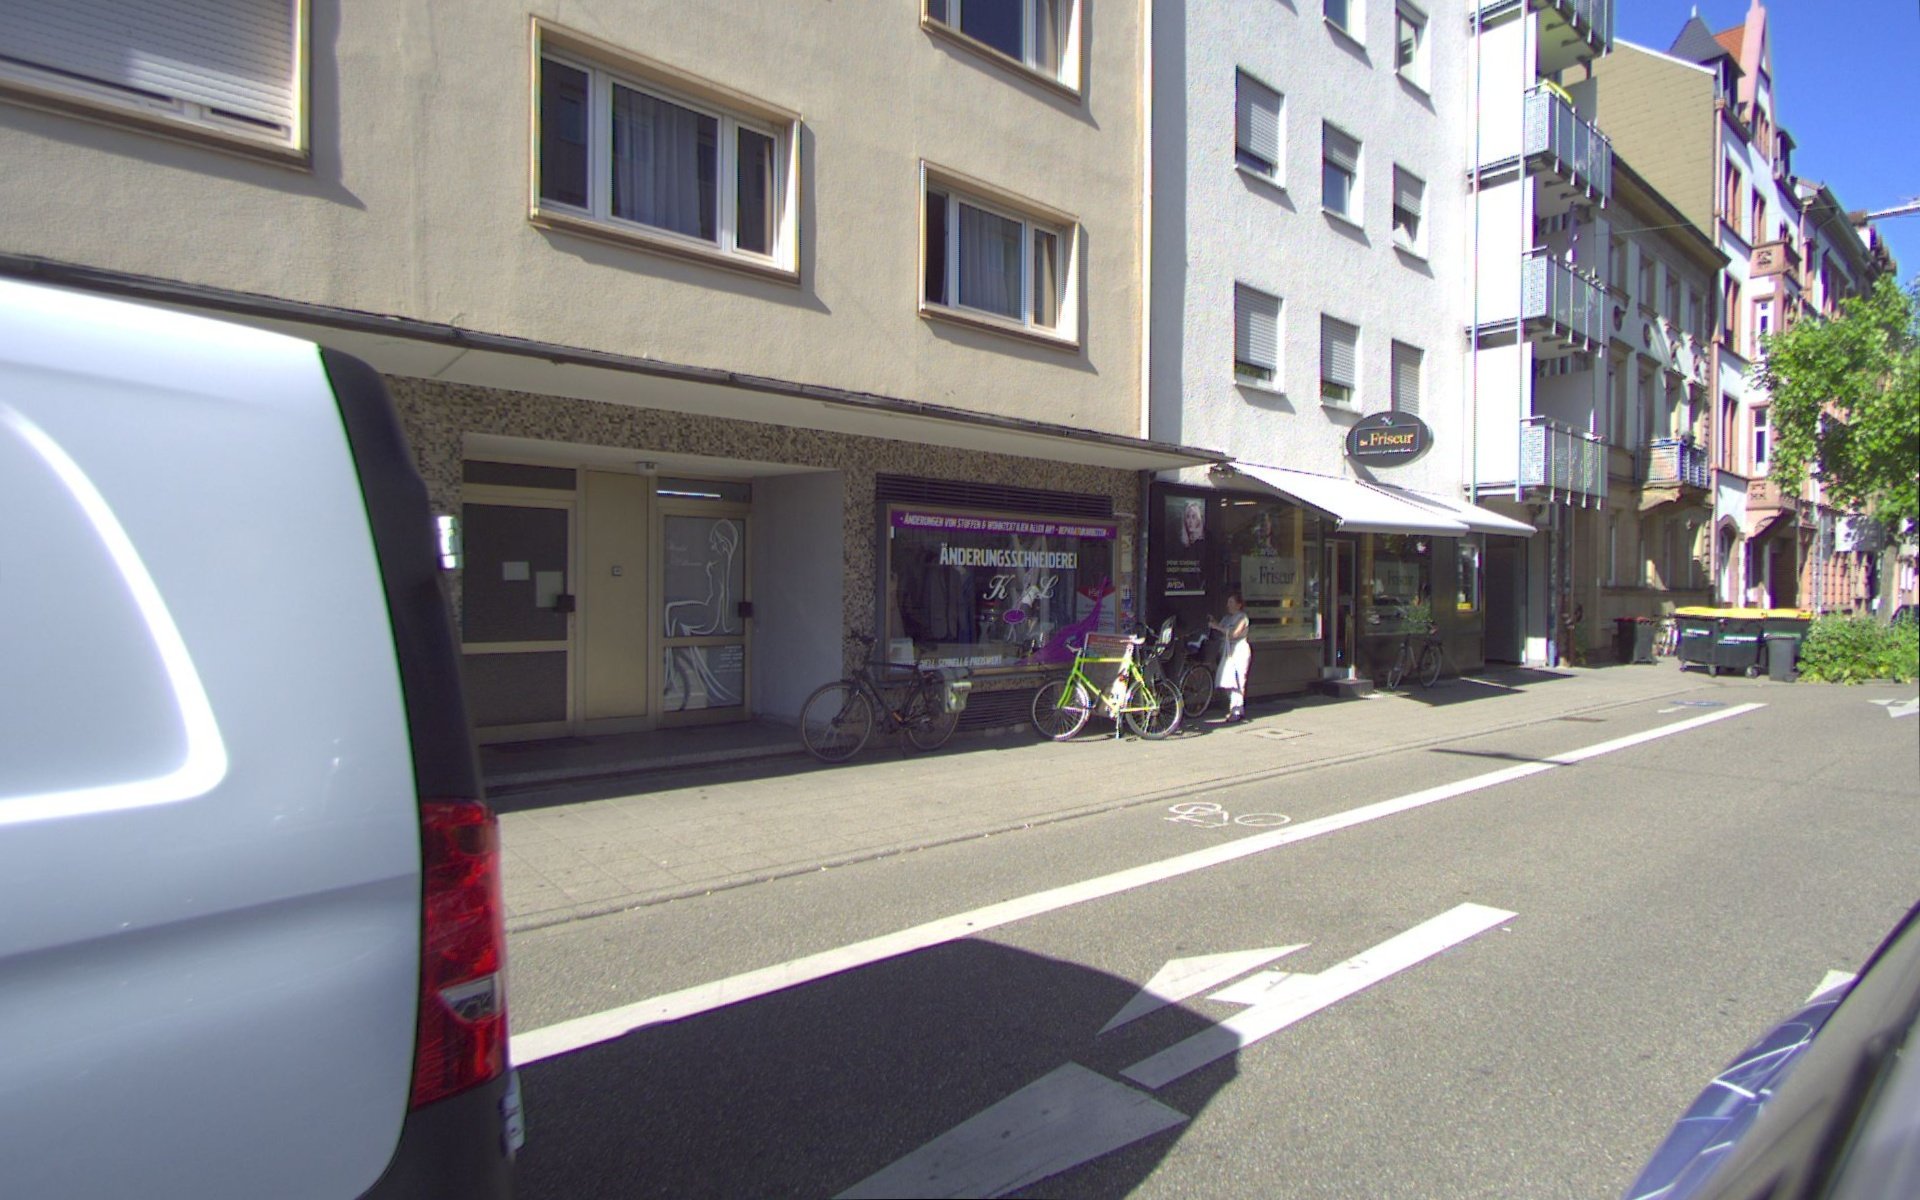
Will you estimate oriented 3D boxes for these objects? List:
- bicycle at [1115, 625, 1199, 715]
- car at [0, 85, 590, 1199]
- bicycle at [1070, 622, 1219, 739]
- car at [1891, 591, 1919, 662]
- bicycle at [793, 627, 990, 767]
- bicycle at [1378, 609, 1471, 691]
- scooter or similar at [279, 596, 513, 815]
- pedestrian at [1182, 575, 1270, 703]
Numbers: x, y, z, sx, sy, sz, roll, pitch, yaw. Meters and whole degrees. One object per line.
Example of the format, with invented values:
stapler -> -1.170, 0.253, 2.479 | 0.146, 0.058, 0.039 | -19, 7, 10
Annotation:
bicycle -> 2.360, 0.812, 12.083 | 1.155, 0.995, 0.375 | 0, 0, -43
car -> -2.863, 0.471, 0.390 | 4.750, 1.833, 1.971 | -1, 1, -42
bicycle -> 1.966, 0.819, 10.721 | 1.475, 1.120, 0.719 | 1, 0, 18
car -> 23.320, 0.599, 23.881 | 3.485, 1.616, 1.626 | 0, 1, -41
bicycle -> -0.574, 0.816, 8.980 | 1.766, 1.098, 0.408 | 0, 3, -36
bicycle -> 7.286, 0.749, 15.850 | 1.743, 1.157, 0.598 | 0, 3, -41
scooter or similar -> -3.523, 0.601, 6.360 | 1.207, 1.240, 0.527 | 0, 0, -41
pedestrian -> 3.195, 0.445, 12.168 | 0.774, 1.460, 0.615 | 3, 2, 45
